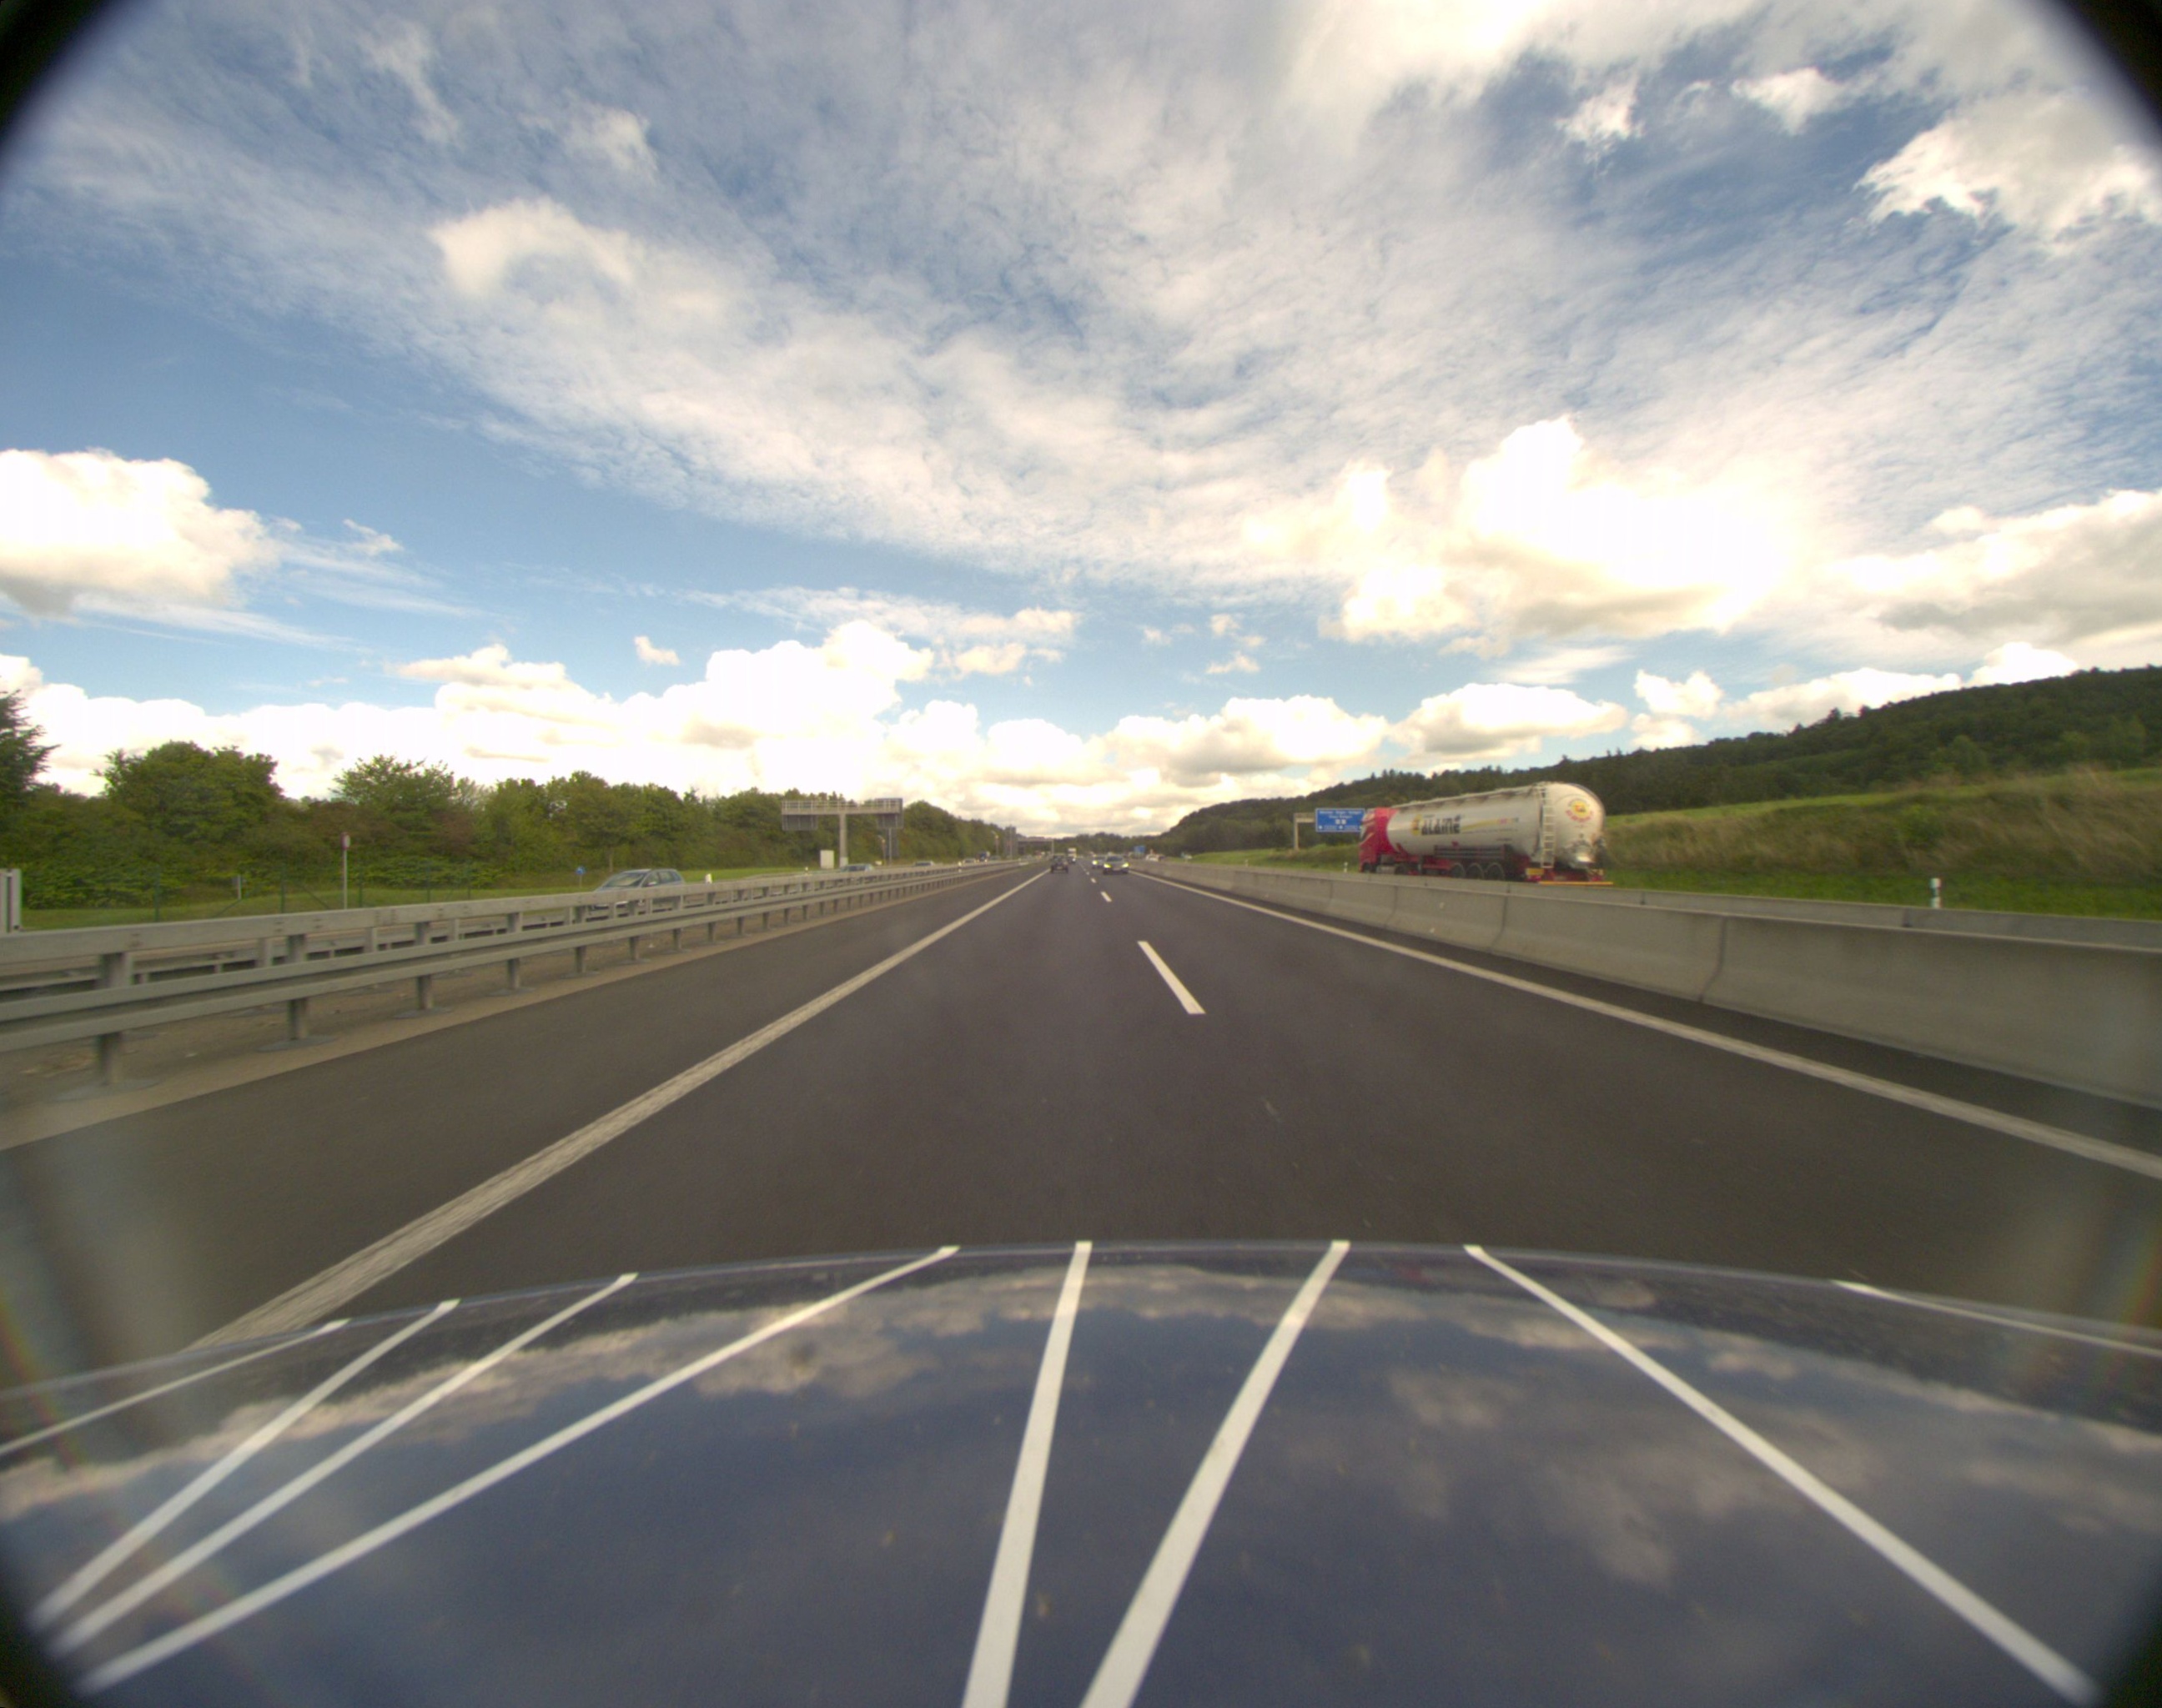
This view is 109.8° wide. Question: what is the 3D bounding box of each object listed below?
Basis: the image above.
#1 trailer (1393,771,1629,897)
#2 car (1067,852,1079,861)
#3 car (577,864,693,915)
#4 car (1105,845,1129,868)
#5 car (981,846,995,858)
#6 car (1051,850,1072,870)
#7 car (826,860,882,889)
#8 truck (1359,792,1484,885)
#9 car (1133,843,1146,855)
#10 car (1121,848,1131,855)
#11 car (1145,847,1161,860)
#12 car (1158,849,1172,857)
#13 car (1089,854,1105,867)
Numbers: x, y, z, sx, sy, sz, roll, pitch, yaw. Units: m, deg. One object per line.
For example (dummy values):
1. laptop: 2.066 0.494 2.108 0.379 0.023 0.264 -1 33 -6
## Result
1. trailer: 15.468 -0.662 28.856 2.720 3.864 11.159 0 1 1
2. car: -1.381 0.391 134.085 1.999 1.591 3.999 0 1 -1
3. car: -16.686 1.276 28.677 1.998 1.698 3.999 0 1 0
4. car: 2.776 0.164 59.134 1.724 1.722 3.938 -1 1 1
5. car: -17.460 -0.375 142.702 1.999 2.173 5.127 -1 1 -1
6. car: -1.751 0.535 70.023 1.670 1.722 4.207 -1 1 1
7. car: -12.784 1.132 43.046 1.999 1.476 3.999 -1 1 -1
8. truck: 15.558 -0.693 35.381 2.744 3.902 6.900 0 1 1
9. car: 10.843 -0.939 140.376 1.998 2.002 5.840 0 1 1
10. car: 10.386 -0.543 176.623 1.998 1.564 5.364 0 1 1
11. car: 10.891 -0.075 115.111 1.998 2.002 4.677 -1 0 1
12. car: 15.318 -0.145 139.011 1.998 1.470 4.691 0 1 1
13. car: 1.807 0.707 84.156 1.724 1.406 3.938 -1 1 1
